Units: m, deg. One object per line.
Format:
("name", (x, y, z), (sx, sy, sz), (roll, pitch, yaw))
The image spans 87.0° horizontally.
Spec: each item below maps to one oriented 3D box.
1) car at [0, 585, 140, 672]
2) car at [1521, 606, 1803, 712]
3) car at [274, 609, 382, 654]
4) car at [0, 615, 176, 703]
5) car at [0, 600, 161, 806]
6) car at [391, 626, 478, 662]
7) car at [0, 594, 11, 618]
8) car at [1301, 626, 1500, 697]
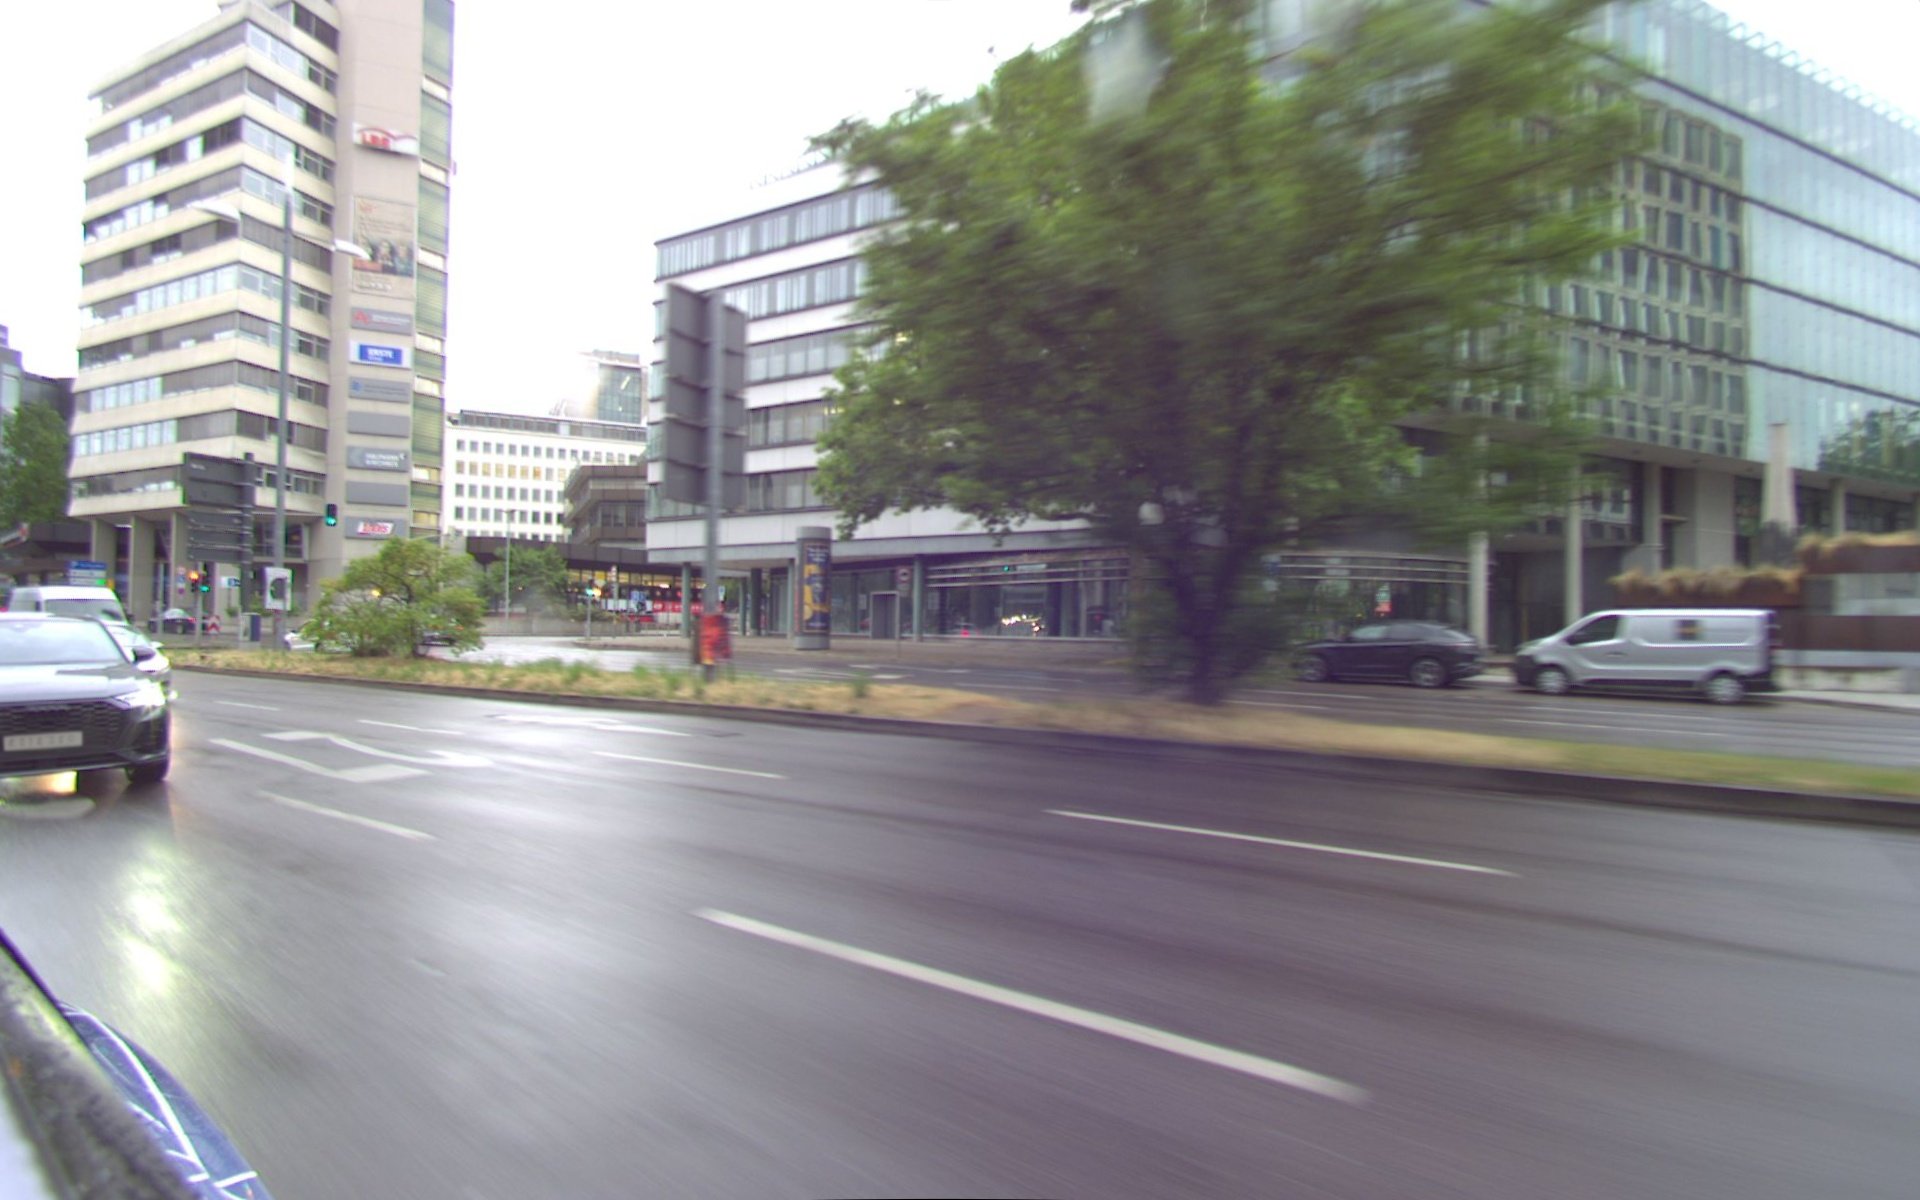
("car", (-27.029, 0.786, 30.576), (5.711, 2.403, 2.232), (0, -1, 38))
("car", (15.254, 1.185, 22.218), (4.909, 2.029, 1.975), (0, -1, 38))
("car", (-22.394, 1.084, 35.827), (3.960, 1.475, 1.737), (0, -1, 34))
("car", (-17.119, 1.072, 19.717), (4.118, 1.490, 1.754), (0, -1, 35))
("car", (-8.850, 0.783, 9.329), (4.390, 1.564, 1.777), (0, -1, 45))
("car", (-25.296, 2.087, 48.645), (4.474, 1.630, 1.975), (-2, -2, 37))
("car", (-66.059, 0.343, 67.445), (5.130, 1.597, 1.987), (1, -1, 20))
("car", (10.988, 1.465, 25.392), (4.280, 1.541, 1.780), (0, -1, 38))
